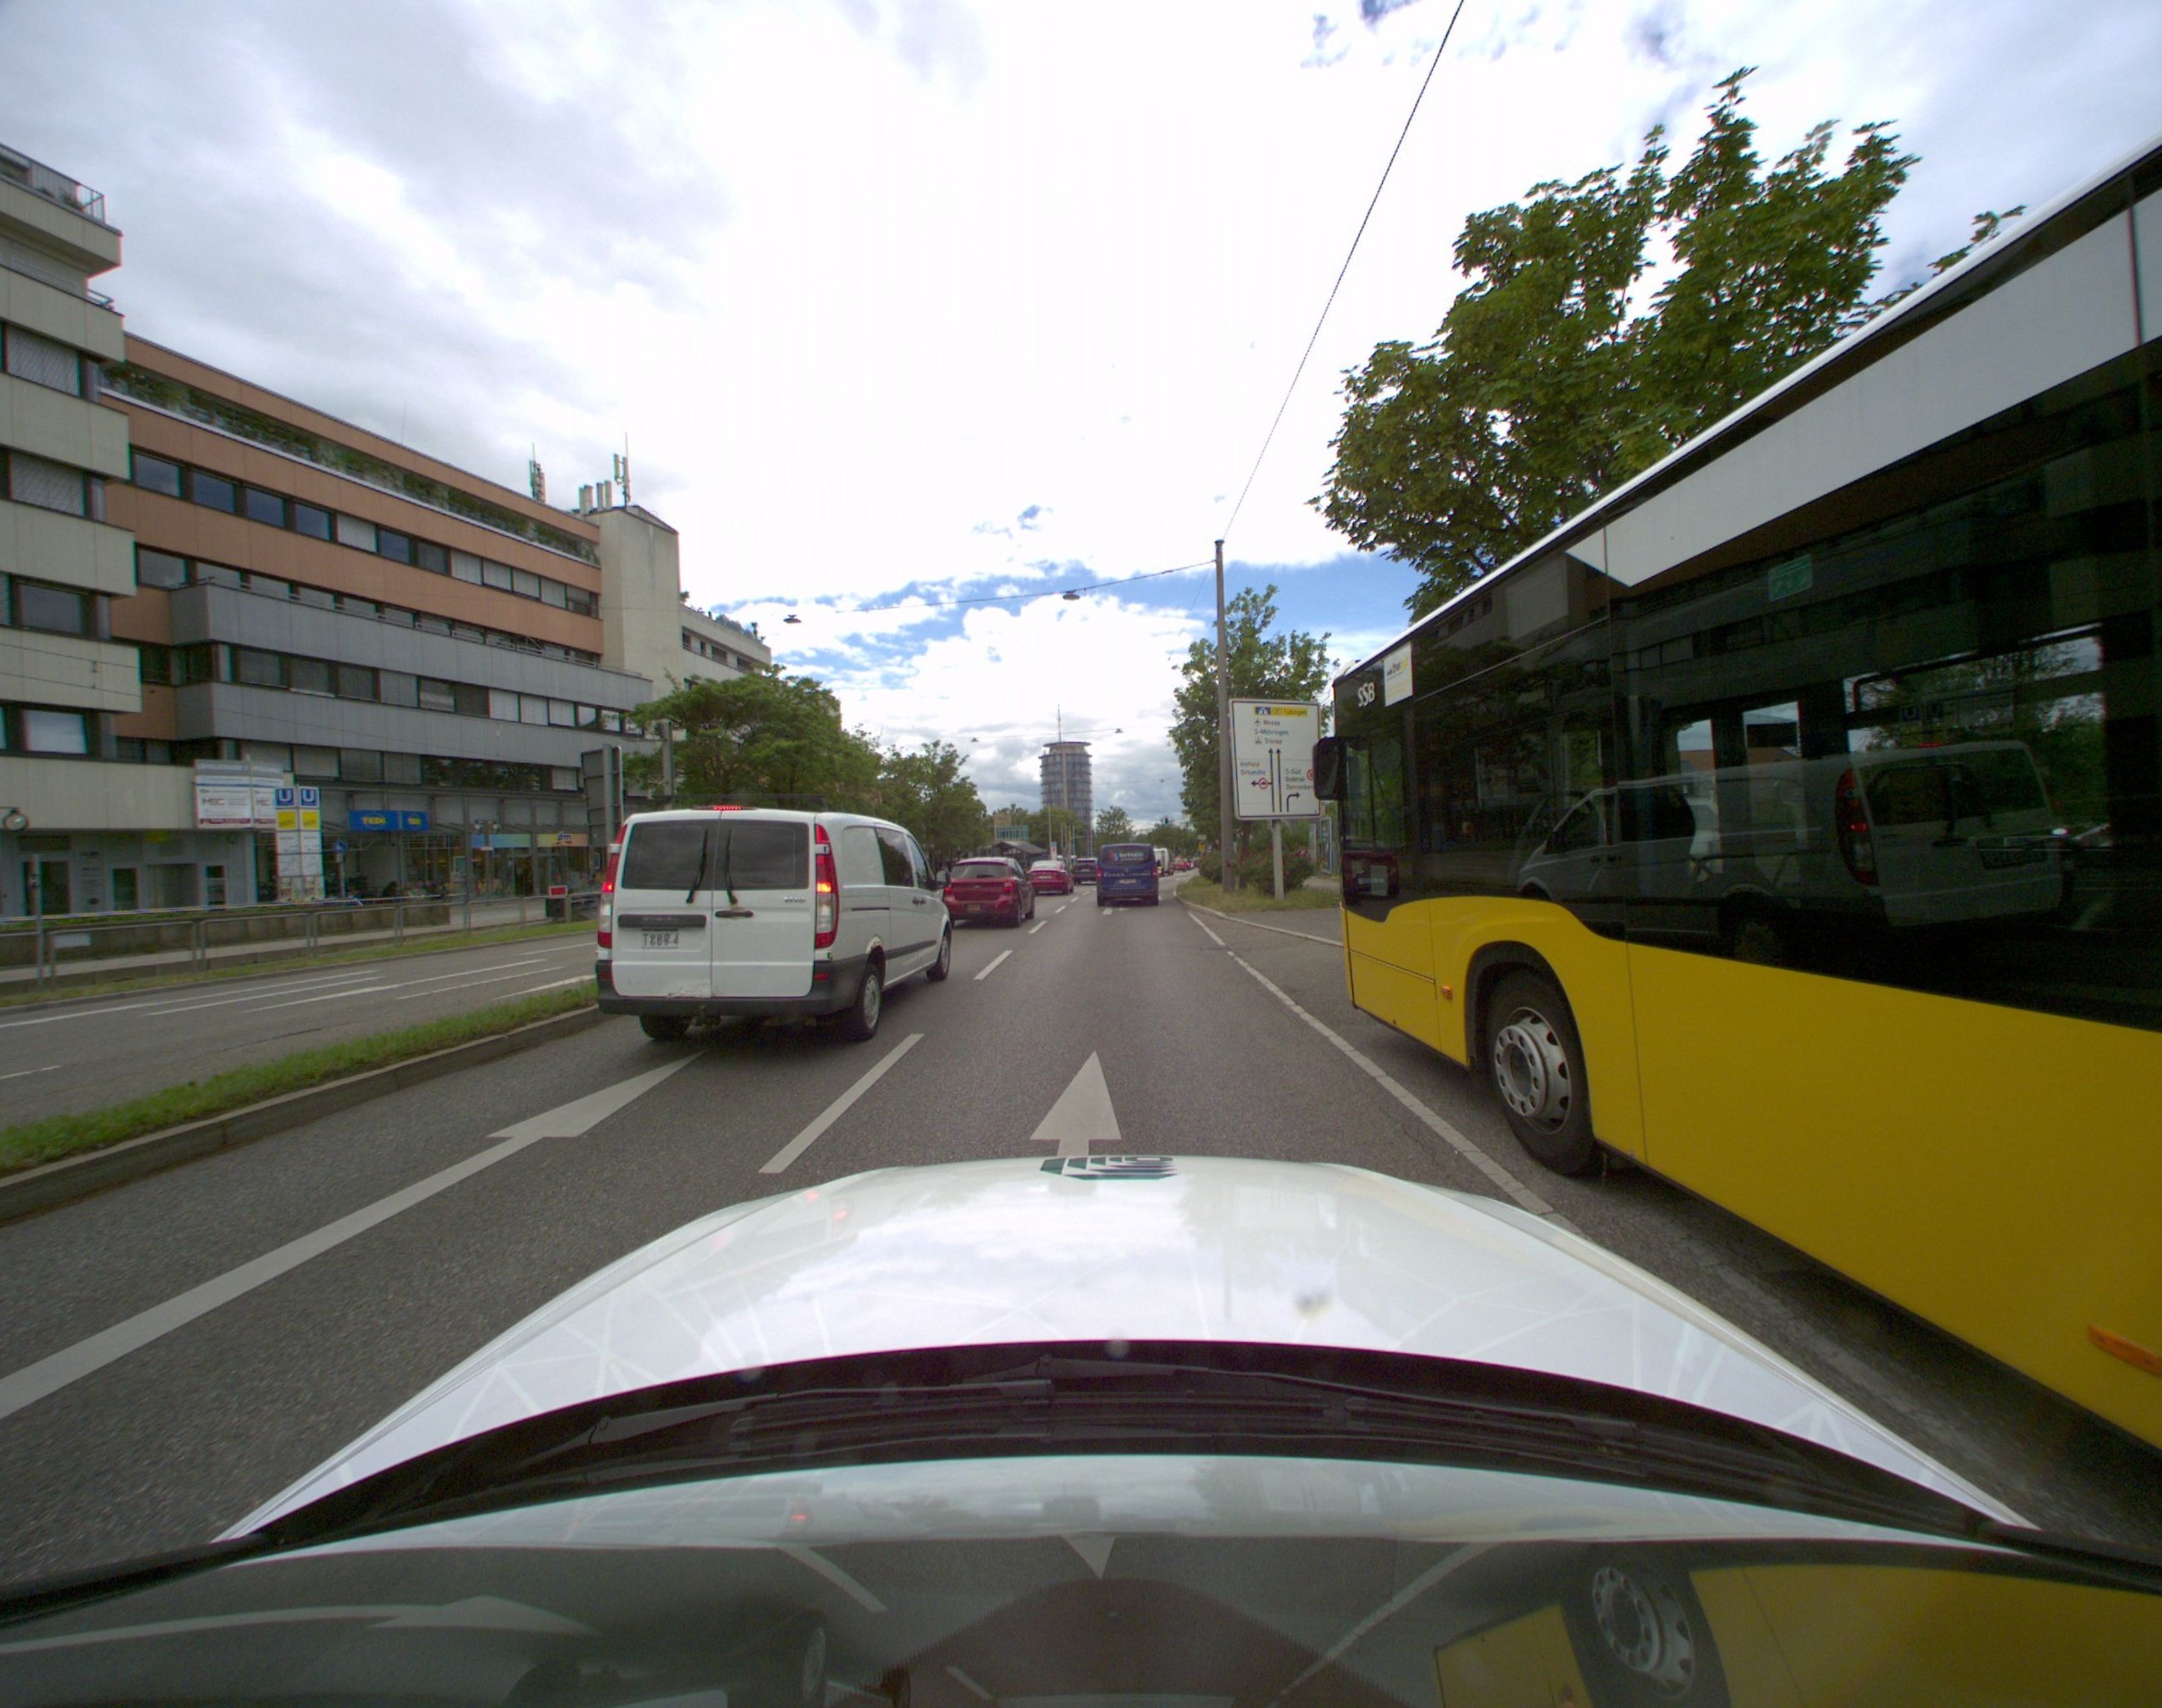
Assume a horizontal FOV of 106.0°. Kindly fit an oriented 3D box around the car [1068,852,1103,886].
[{"bbox_3d":[0.321,0.880,50.710,1.986,2.013,4.002,-1,0,2],"label":"car"}]

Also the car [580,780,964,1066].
[{"bbox_3d":[-2.546,0.467,8.287,1.867,2.013,5.077,0,0,1],"label":"car"}]

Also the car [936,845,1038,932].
[{"bbox_3d":[-2.051,0.746,18.820,1.740,1.723,4.001,-2,-1,1],"label":"car"}]

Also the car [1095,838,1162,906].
[{"bbox_3d":[1.479,0.552,26.118,1.940,1.965,4.544,-1,-1,2],"label":"car"}]

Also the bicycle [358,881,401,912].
[{"bbox_3d":[-30.959,1.865,35.920,1.949,1.319,0.710,-2,-1,26],"label":"bicycle"}]

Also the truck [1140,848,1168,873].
[{"bbox_3d":[6.737,0.579,74.760,1.981,2.166,5.576,0,0,11],"label":"truck"}]

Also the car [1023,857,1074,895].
[{"bbox_3d":[-1.326,0.934,34.941,1.861,1.486,4.001,-2,-1,2],"label":"car"}]

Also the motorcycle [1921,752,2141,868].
[{"bbox_3d":[11.052,-0.471,9.534,0.586,1.222,1.566,-2,-1,-31],"label":"motorcycle"}]

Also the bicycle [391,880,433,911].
[{"bbox_3d":[-30.246,1.878,36.818,1.949,1.319,0.710,-2,-1,26],"label":"bicycle"}]

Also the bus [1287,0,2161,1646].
[{"bbox_3d":[3.236,-0.201,2.226,2.705,3.163,9.122,-3,0,-1],"label":"bus"}]
